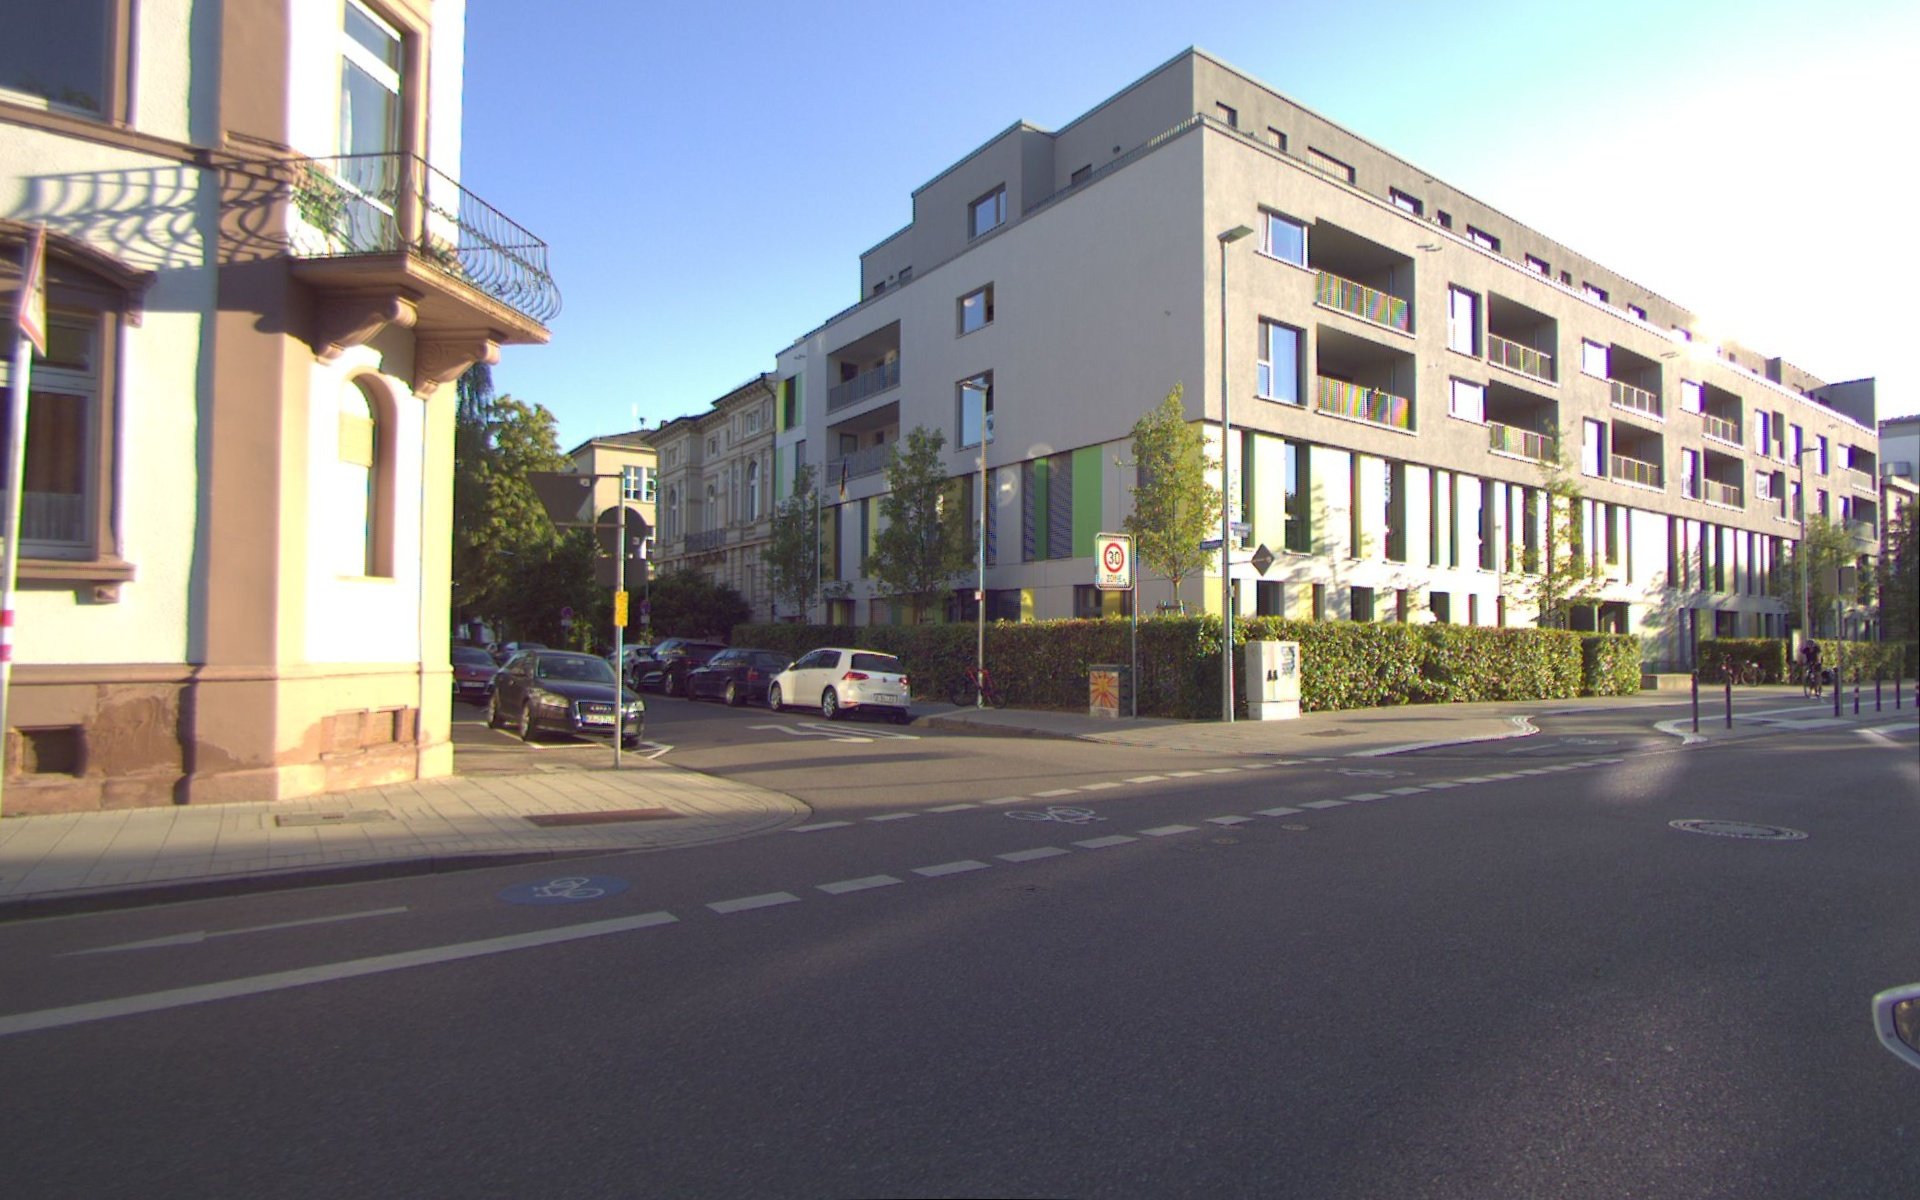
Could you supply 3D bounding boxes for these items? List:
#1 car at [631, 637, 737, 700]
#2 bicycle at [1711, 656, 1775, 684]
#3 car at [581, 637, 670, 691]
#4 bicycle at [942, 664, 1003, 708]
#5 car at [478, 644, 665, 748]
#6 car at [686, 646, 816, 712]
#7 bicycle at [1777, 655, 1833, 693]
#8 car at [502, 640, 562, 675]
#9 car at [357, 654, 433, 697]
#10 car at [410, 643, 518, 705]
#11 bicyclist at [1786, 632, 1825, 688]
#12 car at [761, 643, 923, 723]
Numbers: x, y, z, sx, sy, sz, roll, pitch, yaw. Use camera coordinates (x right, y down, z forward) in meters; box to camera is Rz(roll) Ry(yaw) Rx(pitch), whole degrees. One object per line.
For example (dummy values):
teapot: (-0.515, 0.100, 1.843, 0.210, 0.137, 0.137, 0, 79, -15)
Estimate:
car: (-8.036, 1.948, 29.047, 1.736, 1.576, 3.883, 7, -6, -33)
bicycle: (28.244, 2.516, 36.253, 0.612, 0.930, 1.738, 2, -1, -37)
car: (-11.137, 2.090, 33.283, 1.736, 1.576, 3.883, 7, -6, -33)
bicycle: (0.272, 1.902, 22.404, 0.507, 0.904, 1.586, 2, -3, -36)
car: (-6.457, 1.462, 16.460, 1.887, 1.457, 3.878, 2, -3, -37)
car: (-5.245, 1.912, 24.895, 1.736, 1.394, 3.883, 7, -6, -33)
bicycle: (25.476, 2.210, 30.280, 1.860, 1.092, 0.631, 1, -3, -29)
car: (-19.680, 2.597, 46.105, 1.876, 1.556, 3.708, 1, -3, -34)
car: (-21.055, 2.779, 37.379, 1.888, 1.457, 3.876, 2, -3, -38)
car: (-13.120, 1.885, 26.466, 1.887, 1.457, 3.878, 2, -3, -37)
bicyclist: (25.505, 1.806, 30.301, 0.748, 1.666, 0.624, 1, -2, -29)
car: (-2.616, 1.738, 21.488, 1.801, 1.456, 3.883, 7, -6, -33)
